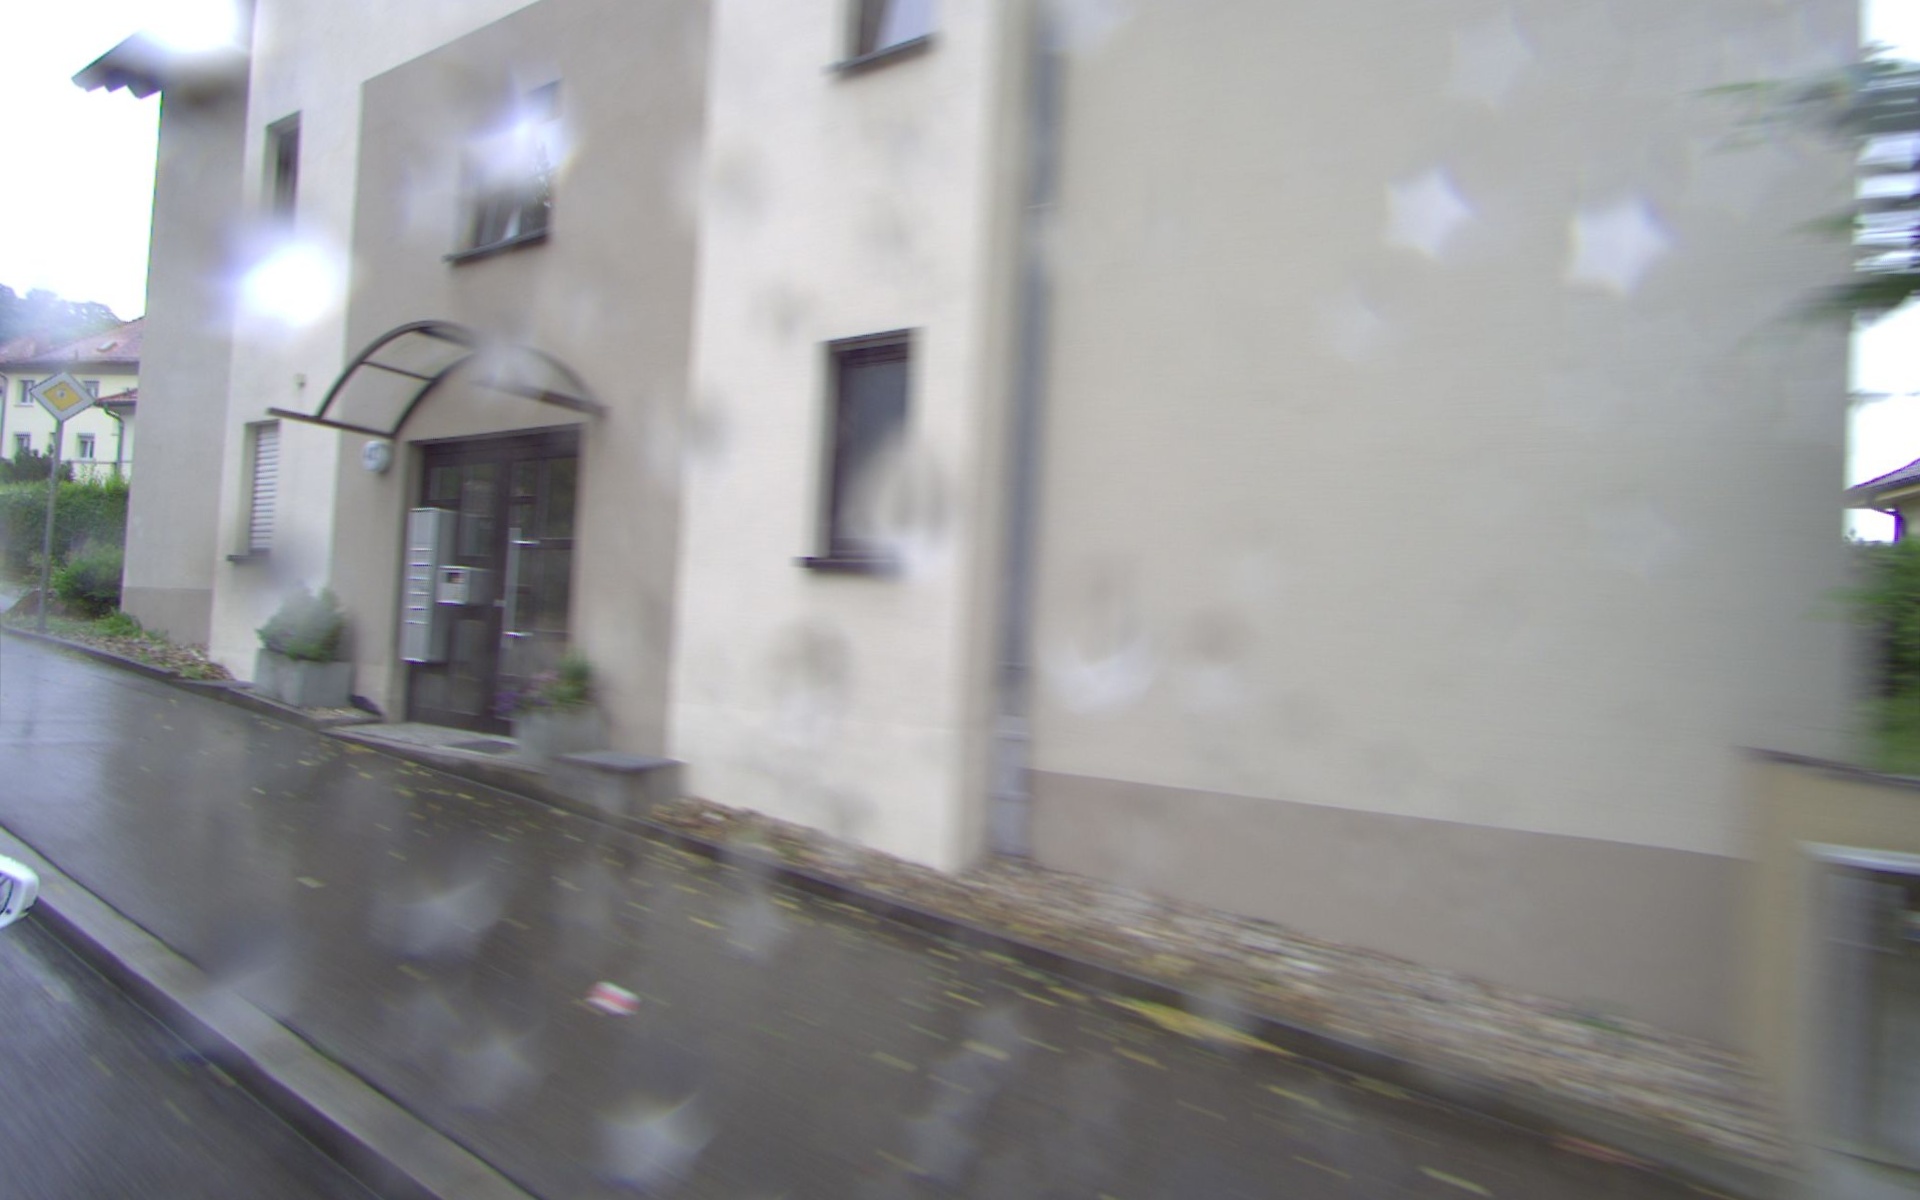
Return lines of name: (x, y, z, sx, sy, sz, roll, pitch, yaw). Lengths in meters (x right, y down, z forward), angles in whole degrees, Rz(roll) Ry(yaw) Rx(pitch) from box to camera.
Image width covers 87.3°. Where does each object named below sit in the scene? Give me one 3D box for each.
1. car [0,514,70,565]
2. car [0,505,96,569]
car: (-41.646, -2.774, 43.588, 1.964, 1.790, 4.006, 4, -5, 22)
car: (-38.053, -2.626, 40.743, 1.964, 2.034, 4.006, 4, -5, 22)
